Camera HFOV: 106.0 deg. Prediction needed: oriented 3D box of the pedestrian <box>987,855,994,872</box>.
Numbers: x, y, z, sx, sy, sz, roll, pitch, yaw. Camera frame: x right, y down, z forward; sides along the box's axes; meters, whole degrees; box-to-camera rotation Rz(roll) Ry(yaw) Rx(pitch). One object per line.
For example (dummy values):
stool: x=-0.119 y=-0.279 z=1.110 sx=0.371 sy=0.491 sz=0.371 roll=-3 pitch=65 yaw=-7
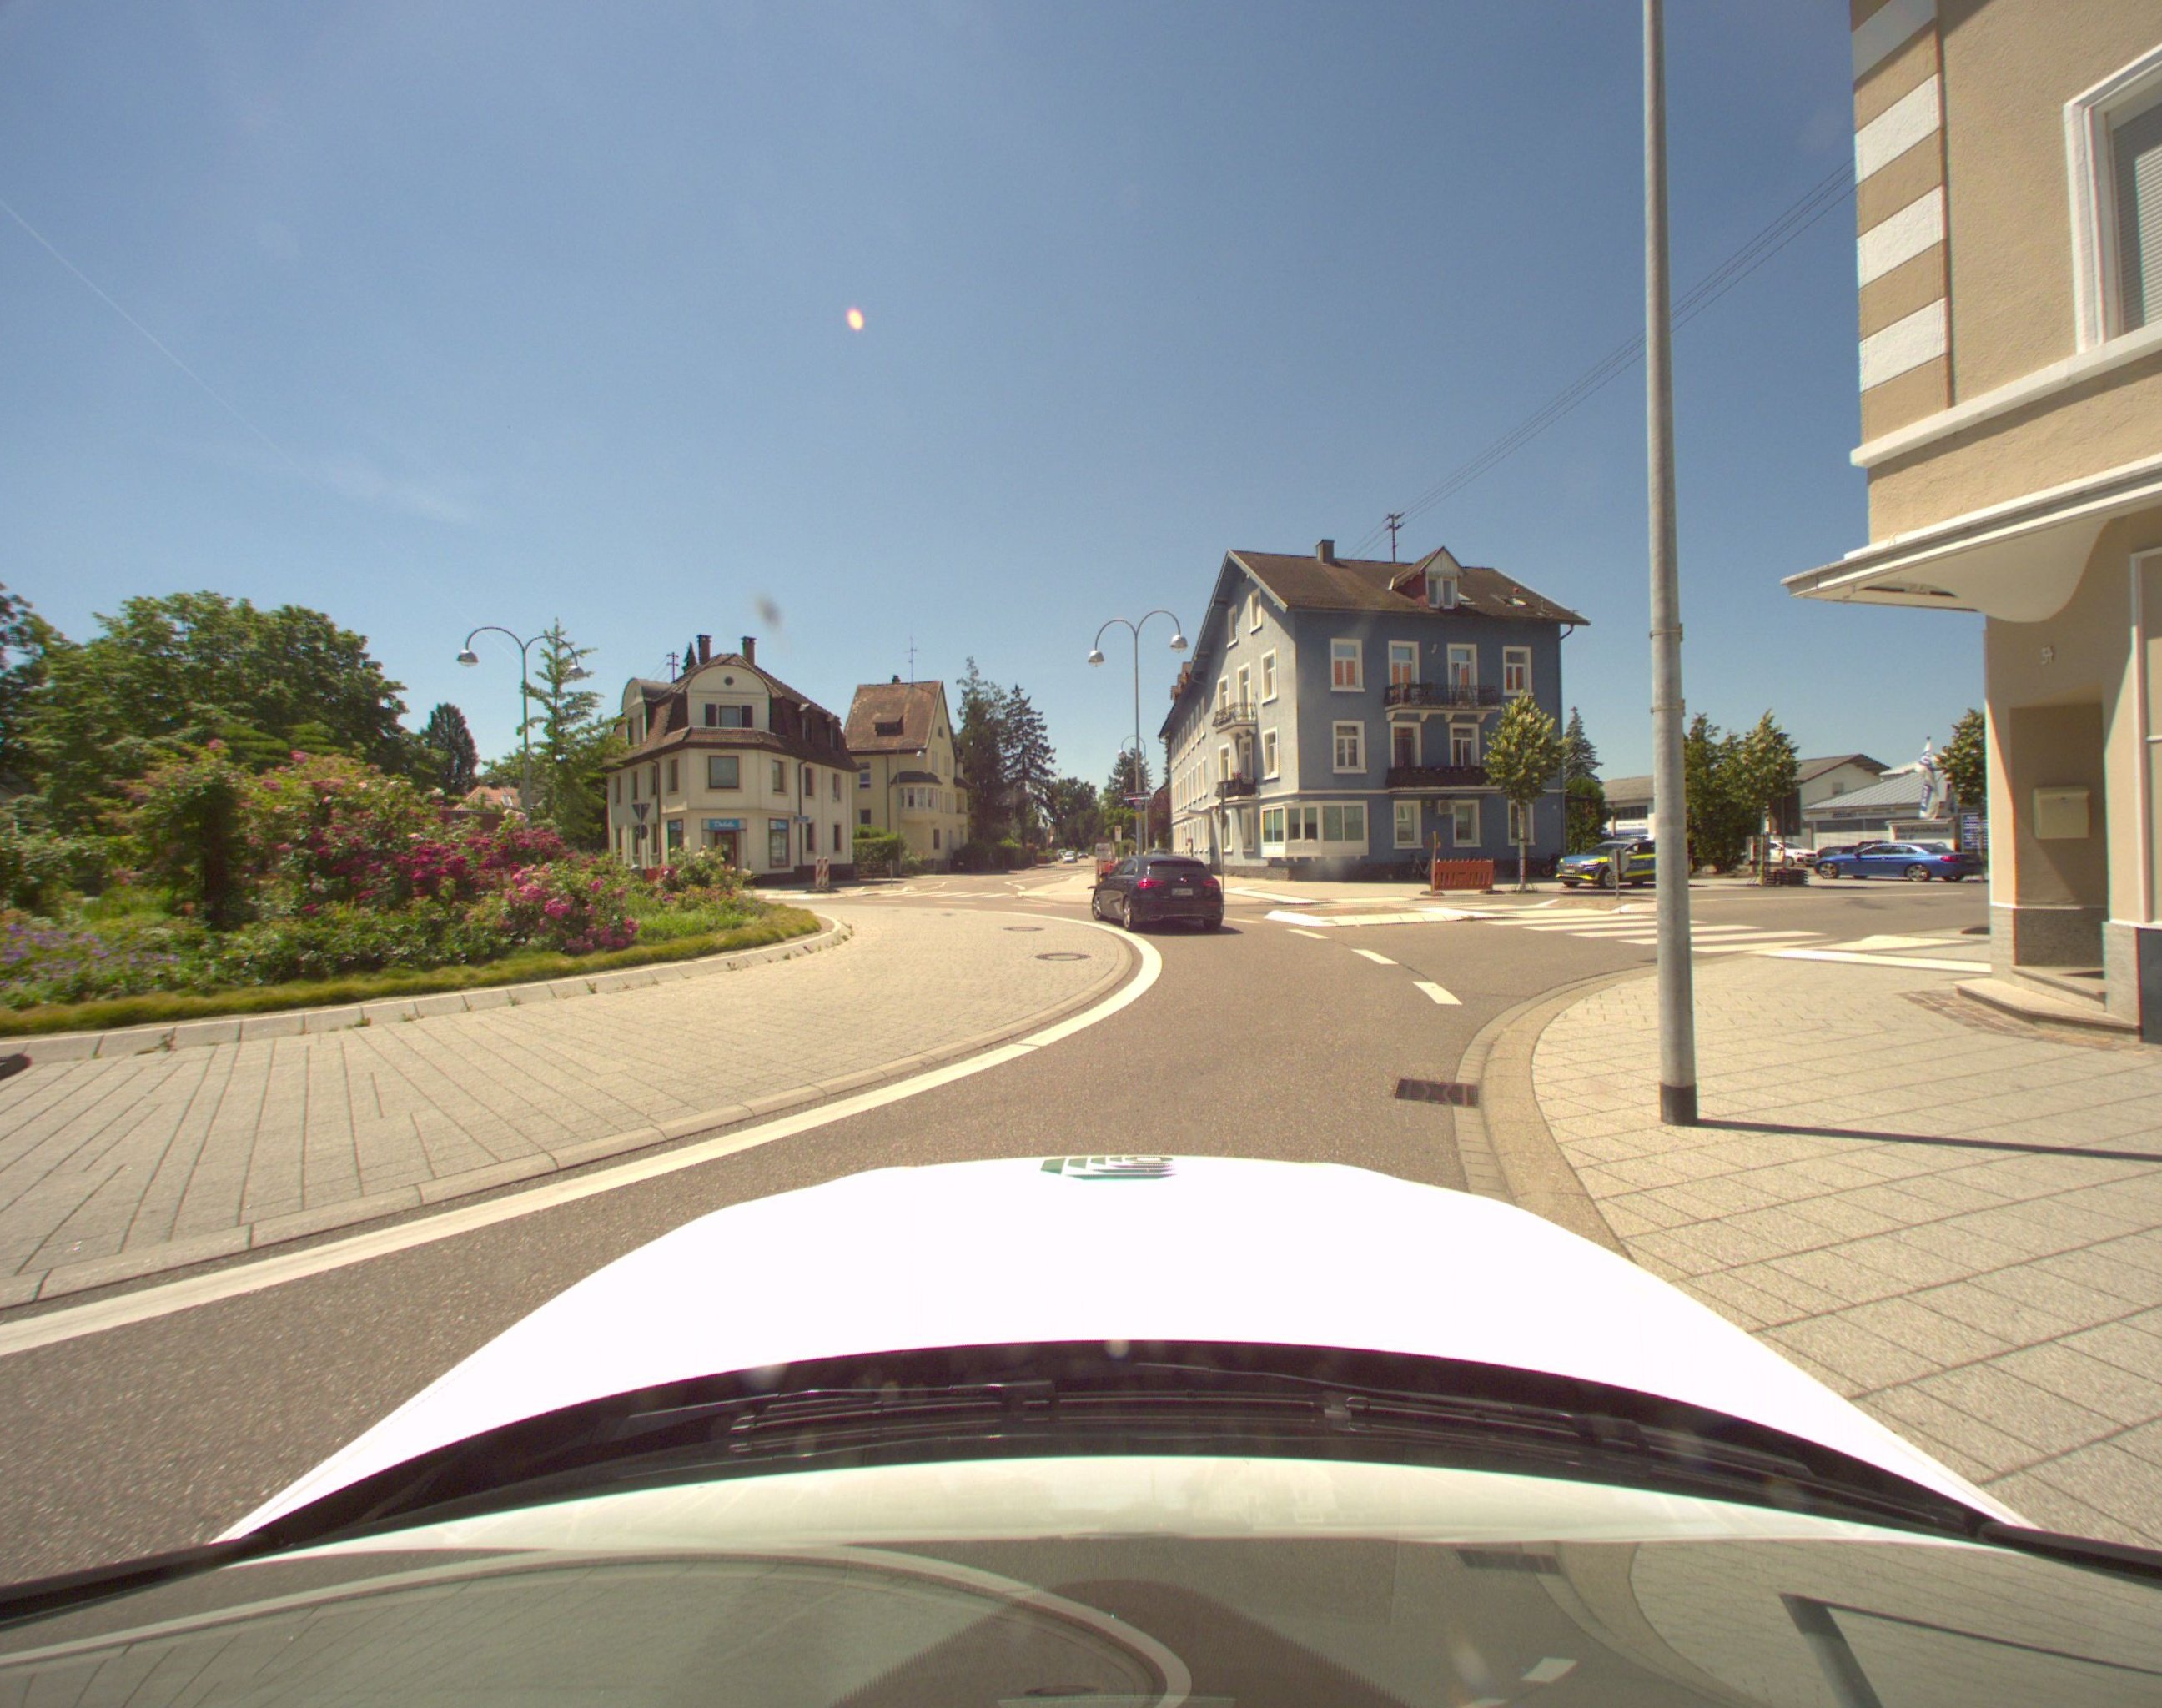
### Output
pedestrian: x=-8.142 y=0.881 z=73.129 sx=0.520 sy=1.509 sz=0.474 roll=-1 pitch=0 yaw=8

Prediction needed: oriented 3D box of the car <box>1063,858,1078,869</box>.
car: x=-1.597 y=1.472 z=123.637 sx=1.986 sy=1.651 sz=4.001 roll=-1 pitch=0 yaw=1

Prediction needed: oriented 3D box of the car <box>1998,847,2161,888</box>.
car: x=39.928 y=0.498 z=32.512 sx=1.995 sy=1.530 sz=3.984 roll=-1 pitch=0 yaw=-12

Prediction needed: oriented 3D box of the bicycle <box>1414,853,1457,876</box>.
bicycle: x=14.755 y=0.436 z=33.909 sx=1.708 sy=0.906 sz=0.438 roll=-1 pitch=2 yaw=-11

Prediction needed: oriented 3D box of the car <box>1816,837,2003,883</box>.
car: x=30.038 y=0.217 z=29.725 sx=1.903 sy=1.480 sz=4.447 roll=2 pitch=-1 yaw=-15

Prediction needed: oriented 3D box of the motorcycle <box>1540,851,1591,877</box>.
motorcycle: x=20.539 y=0.436 z=34.531 sx=1.899 sy=1.051 sz=0.586 roll=-1 pitch=2 yaw=-9

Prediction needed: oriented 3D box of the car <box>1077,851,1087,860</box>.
car: x=0.255 y=0.291 z=167.920 sx=1.986 sy=1.717 sz=4.002 roll=-1 pitch=0 yaw=2

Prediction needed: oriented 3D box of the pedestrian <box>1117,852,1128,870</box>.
pedestrian: x=3.068 y=0.508 z=60.488 sx=0.662 sy=1.286 sz=0.589 roll=-4 pitch=0 yaw=10

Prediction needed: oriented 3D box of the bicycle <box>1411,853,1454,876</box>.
bicycle: x=14.834 y=0.444 z=34.396 sx=1.708 sy=0.906 sz=0.438 roll=-1 pitch=2 yaw=-11

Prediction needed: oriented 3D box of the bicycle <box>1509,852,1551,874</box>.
bicycle: x=19.481 y=0.394 z=35.337 sx=1.708 sy=0.906 sz=0.479 roll=-1 pitch=2 yaw=-11

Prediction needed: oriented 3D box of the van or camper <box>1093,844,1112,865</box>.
van or camper: x=2.630 y=0.062 z=100.911 sx=2.198 sy=2.610 sz=4.000 roll=-1 pitch=0 yaw=1

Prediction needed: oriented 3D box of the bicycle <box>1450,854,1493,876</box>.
bicycle: x=16.614 y=0.453 z=34.615 sx=1.708 sy=0.906 sz=0.479 roll=-1 pitch=2 yaw=-11

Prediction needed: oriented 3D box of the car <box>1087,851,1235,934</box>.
car: x=1.440 y=0.687 z=16.310 sx=1.953 sy=1.427 sz=3.986 roll=0 pitch=0 yaw=-10

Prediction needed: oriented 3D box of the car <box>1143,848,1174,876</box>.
car: x=4.677 y=0.447 z=49.607 sx=1.633 sy=1.507 sz=3.566 roll=-4 pitch=0 yaw=3

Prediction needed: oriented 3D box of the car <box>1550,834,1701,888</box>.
car: x=18.700 y=0.217 z=28.035 sx=4.238 sy=1.743 sz=1.899 roll=-1 pitch=1 yaw=-12
